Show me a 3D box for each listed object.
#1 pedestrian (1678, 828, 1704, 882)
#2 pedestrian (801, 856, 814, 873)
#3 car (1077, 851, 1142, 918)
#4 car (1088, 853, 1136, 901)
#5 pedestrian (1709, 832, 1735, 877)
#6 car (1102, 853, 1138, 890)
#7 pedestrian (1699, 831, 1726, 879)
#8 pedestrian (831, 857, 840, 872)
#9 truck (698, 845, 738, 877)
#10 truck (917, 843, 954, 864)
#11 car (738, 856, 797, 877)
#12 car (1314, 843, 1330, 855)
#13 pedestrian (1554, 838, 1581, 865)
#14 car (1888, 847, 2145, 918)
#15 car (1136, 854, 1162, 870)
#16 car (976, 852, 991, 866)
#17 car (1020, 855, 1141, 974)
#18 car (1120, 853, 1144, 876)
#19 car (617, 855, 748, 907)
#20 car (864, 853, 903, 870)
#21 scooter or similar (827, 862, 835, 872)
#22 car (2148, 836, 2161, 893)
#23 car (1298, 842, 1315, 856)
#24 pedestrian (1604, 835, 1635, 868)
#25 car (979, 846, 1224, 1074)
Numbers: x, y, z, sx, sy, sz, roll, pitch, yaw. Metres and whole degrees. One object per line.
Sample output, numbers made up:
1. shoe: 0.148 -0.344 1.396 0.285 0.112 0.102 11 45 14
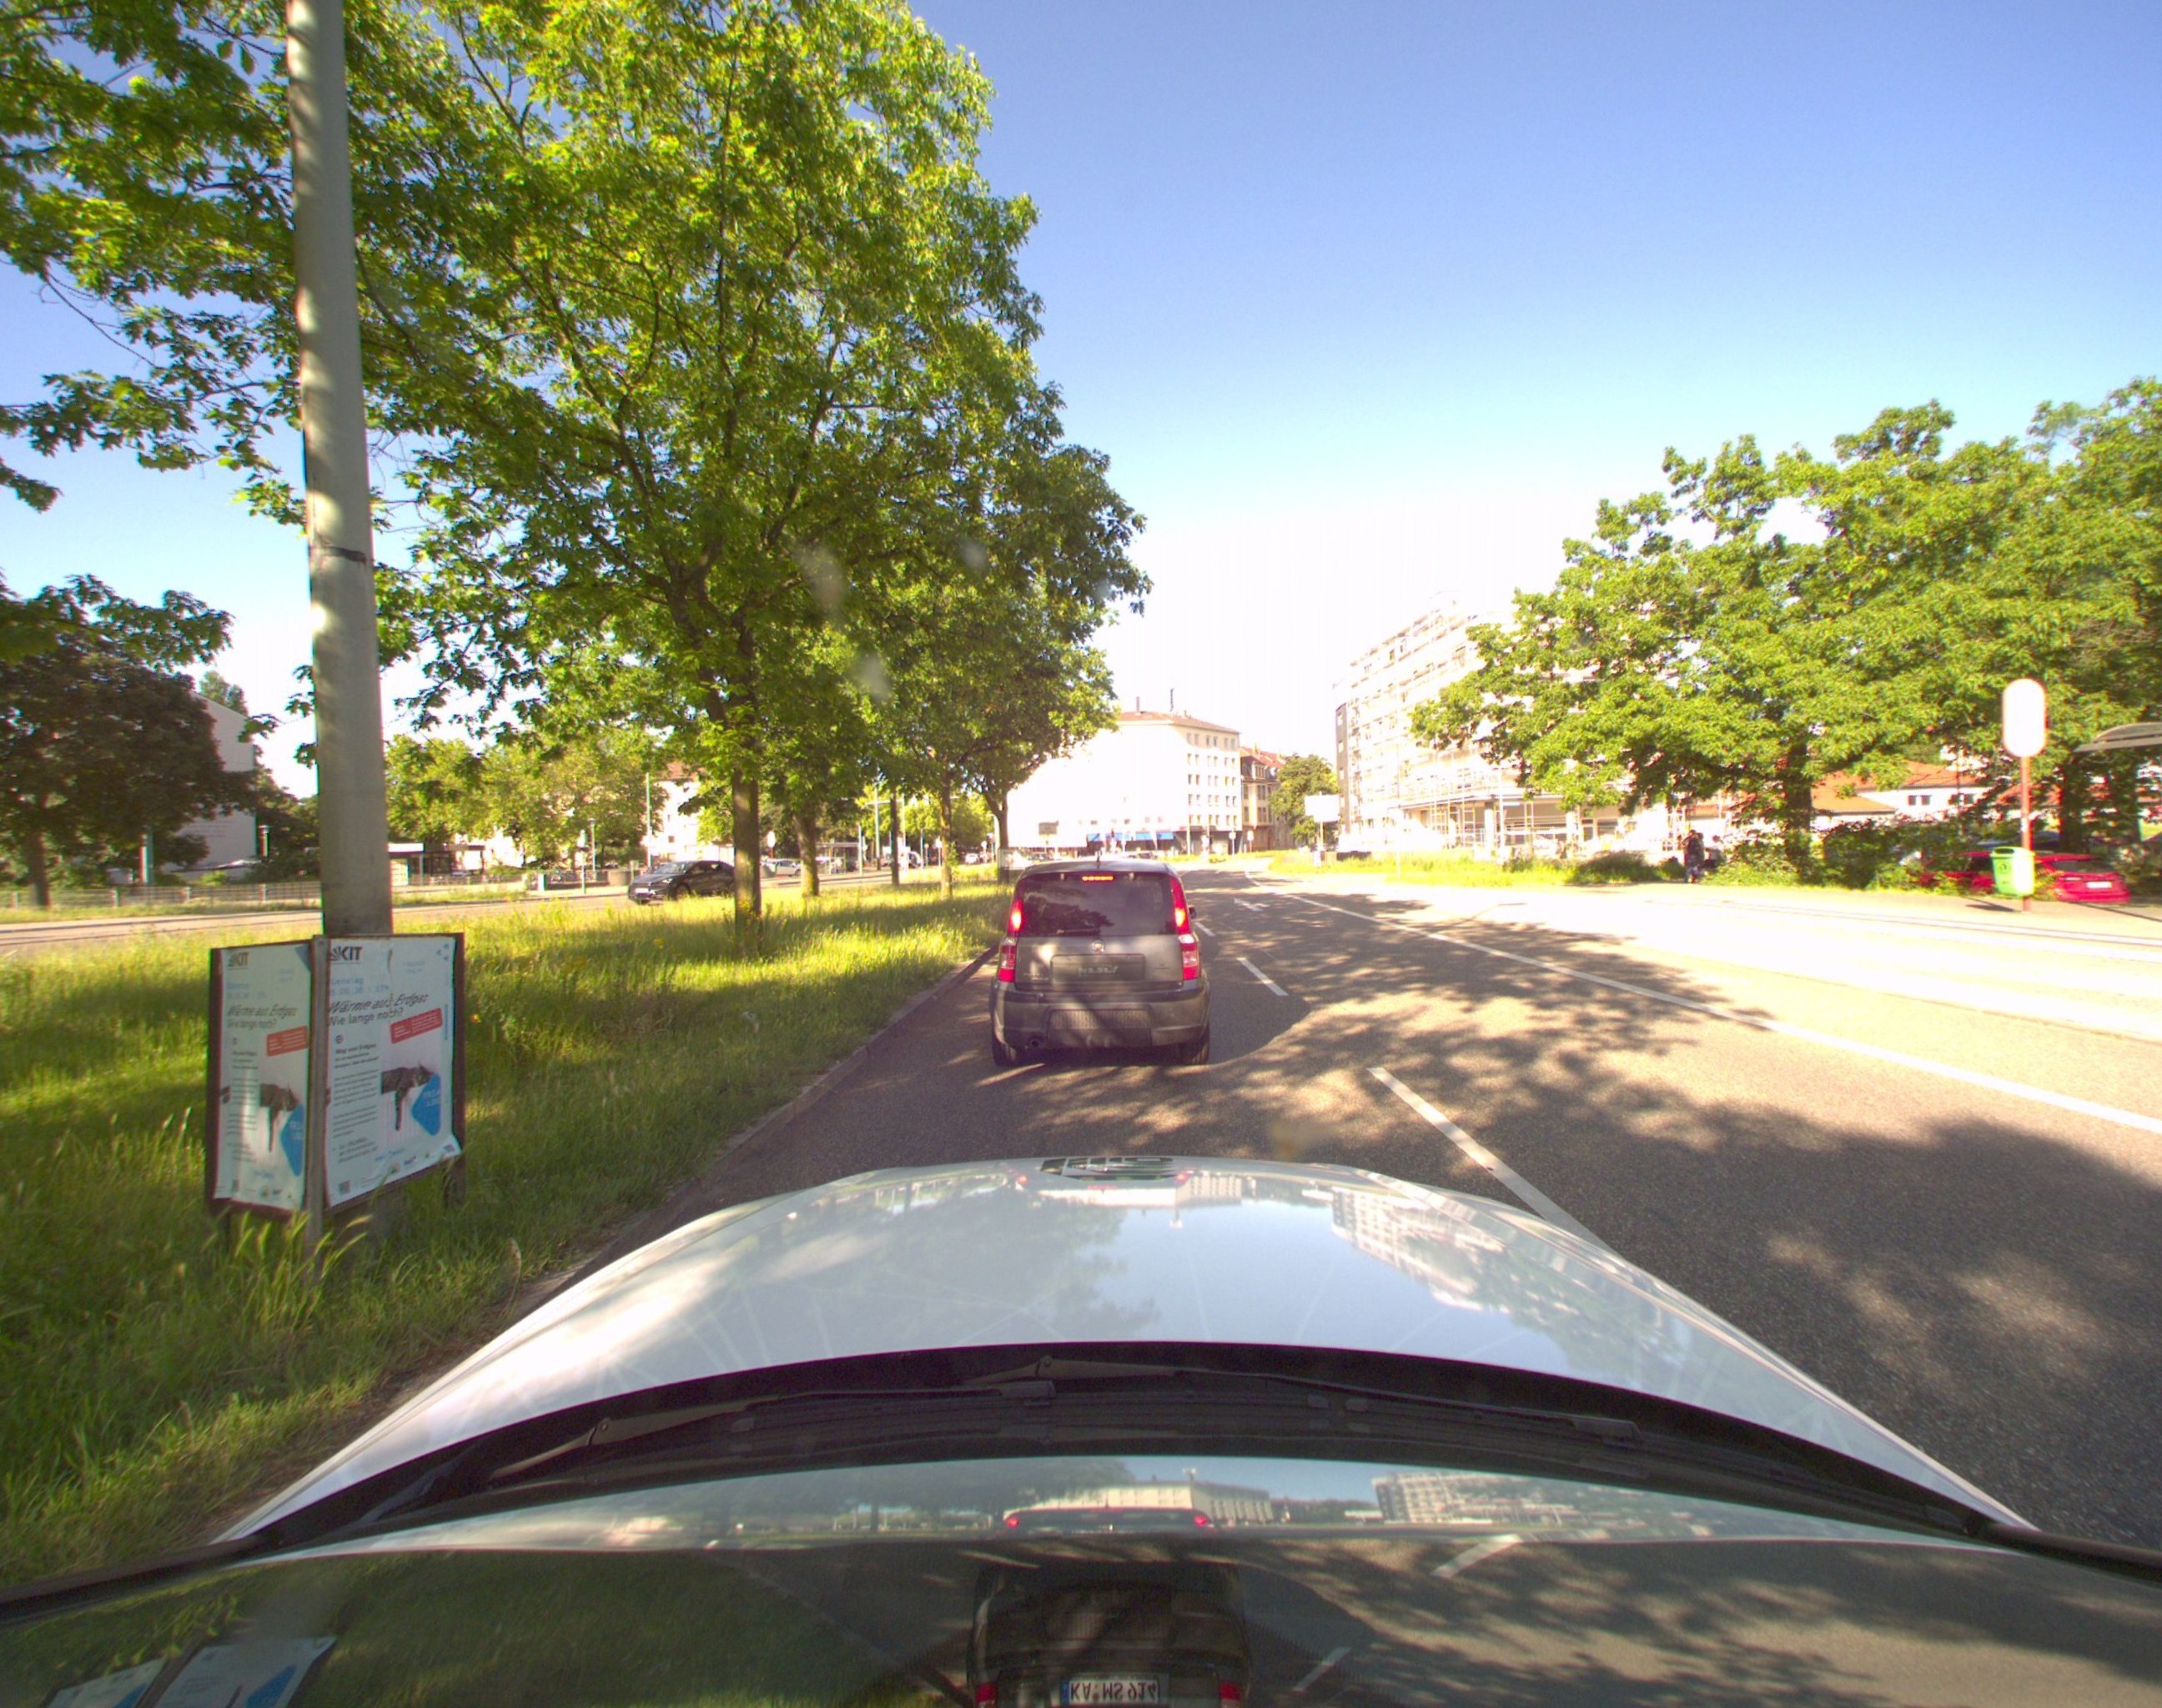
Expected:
1. pedestrian: 18.520 0.016 24.725 0.516 1.612 0.595 -2 0 28
2. pedestrian: -26.328 0.974 78.494 0.910 1.607 0.802 -2 0 41
3. car: 0.722 0.702 20.762 1.458 1.508 3.506 -2 0 2
4. car: 1.027 0.730 27.403 1.458 1.424 3.383 -2 0 2
5. pedestrian: 20.896 0.017 26.553 0.516 1.447 0.595 -2 0 28
6. car: 1.600 0.695 33.973 1.351 1.449 3.267 -2 0 2
7. pedestrian: 19.161 0.032 24.715 0.516 1.447 0.595 -2 0 28
8. pedestrian: -22.521 0.951 74.714 0.411 1.391 0.630 -2 0 28
9. truck: -33.075 0.636 74.211 2.012 2.805 3.951 -2 0 -44
10. truck: -23.005 -0.138 128.578 5.425 3.168 2.358 -2 0 30
11. car: -27.319 1.073 71.074 1.974 1.684 4.348 -2 0 40
12. car: 27.627 -0.587 93.431 1.514 1.314 3.304 -2 0 20
13. pedestrian: 27.141 -0.137 45.425 0.896 1.447 0.958 -2 0 -25
14. car: 21.984 0.601 19.380 1.747 1.486 3.743 -2 0 -2
15. car: 4.865 0.578 57.722 1.133 1.064 2.735 -2 0 19
16. car: -14.839 0.713 124.167 1.988 2.013 3.997 -2 0 -2
17. car: 0.047 0.751 11.769 1.458 1.401 3.395 -2 0 2
18. car: 3.095 0.623 49.683 1.351 1.281 2.877 -2 0 2
19. car: -14.556 0.935 30.084 1.813 1.647 4.478 -2 0 14
20. car: -23.944 0.896 98.951 4.164 2.013 1.931 -2 0 -1
21. scooter or similar: -22.791 1.183 74.197 0.416 0.927 0.537 -2 0 28
22. car: 29.860 0.251 20.183 1.911 1.486 3.725 -2 0 -17
23. car: 24.916 -0.535 90.002 1.669 1.449 3.588 -2 0 18
24. pedestrian: 27.664 -0.144 41.825 0.893 1.653 0.979 -2 0 -26
25. car: 0.202 0.706 7.541 1.622 1.508 4.002 -2 0 2
